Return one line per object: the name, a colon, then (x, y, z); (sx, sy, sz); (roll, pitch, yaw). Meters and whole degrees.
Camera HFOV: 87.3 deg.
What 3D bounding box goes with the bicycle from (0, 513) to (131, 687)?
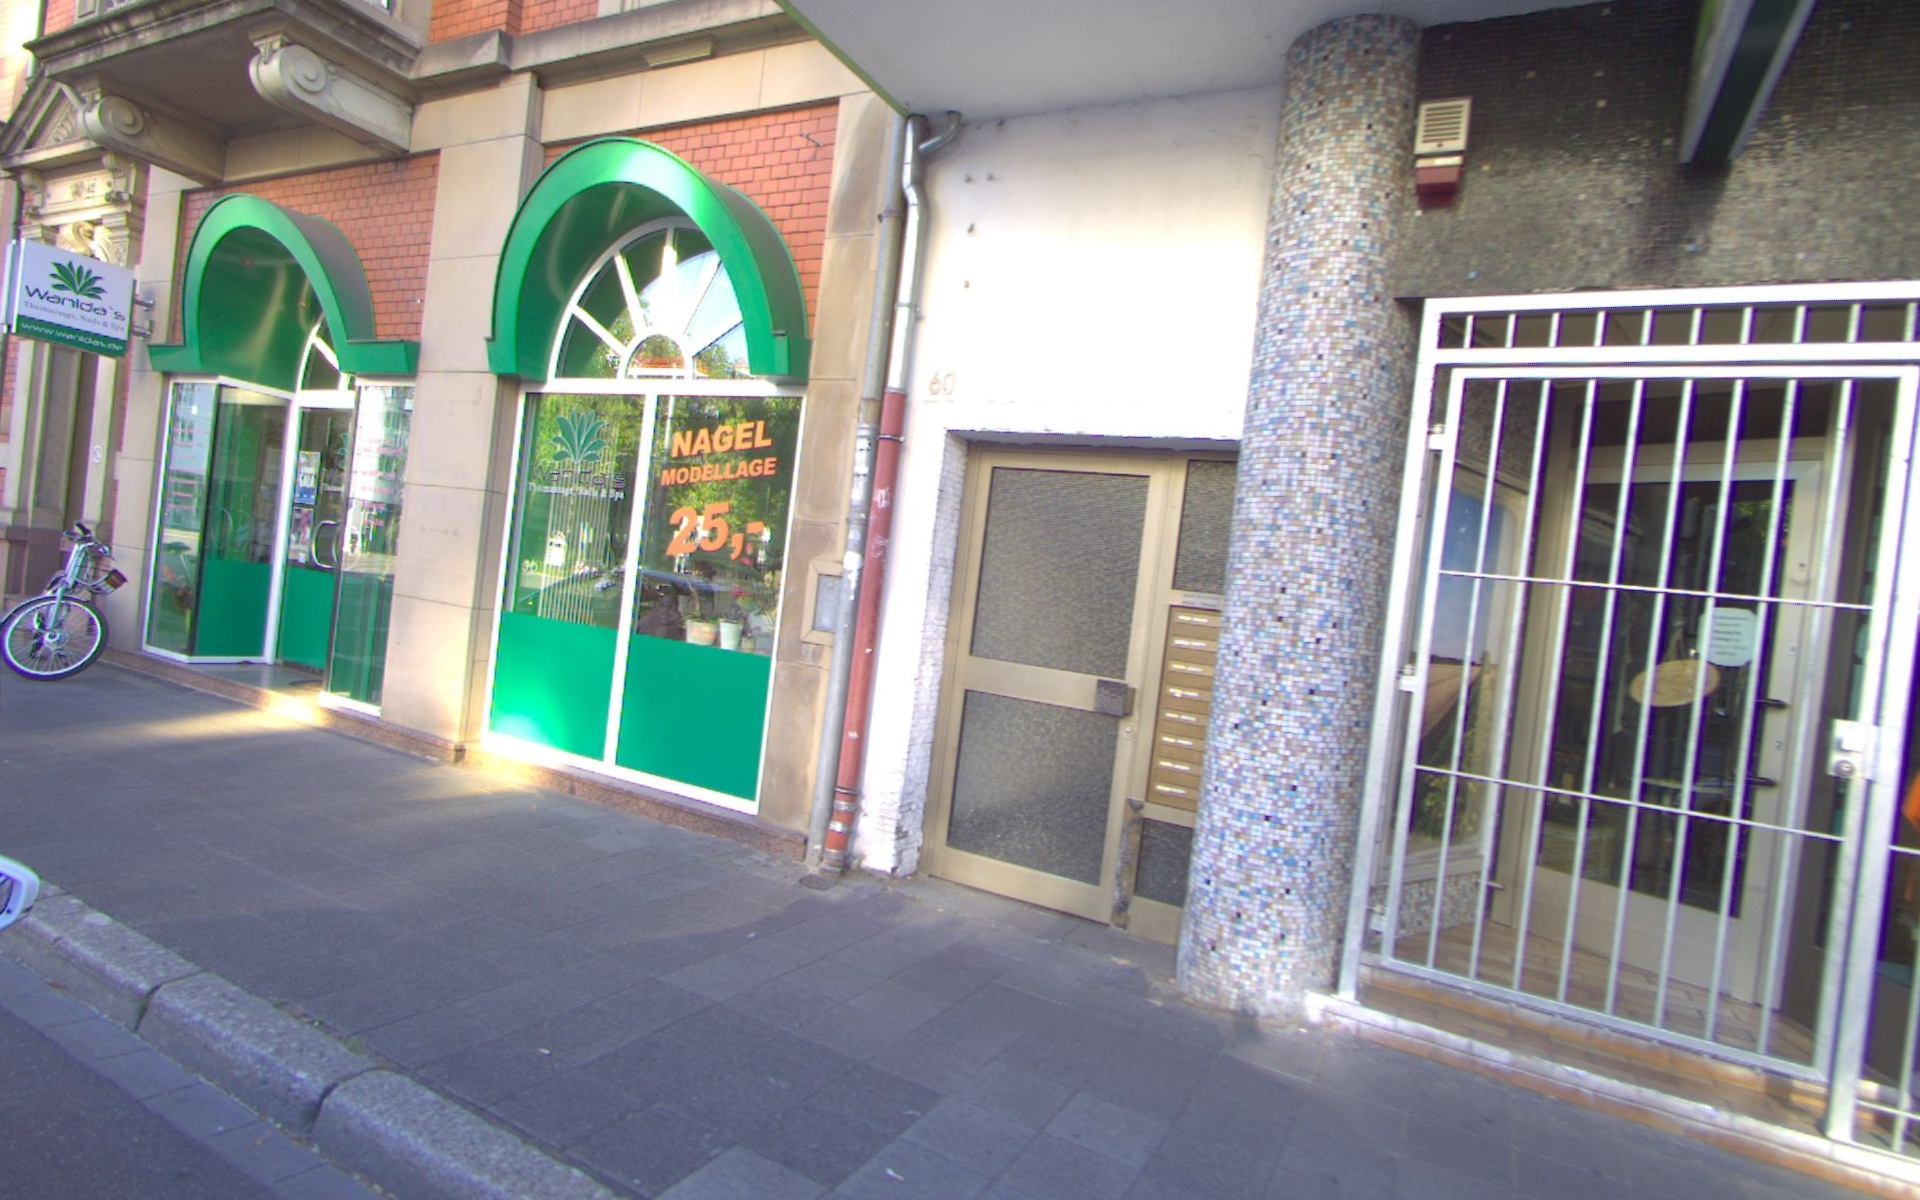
bicycle: (-7.011, -0.027, 7.837); (0.712, 1.167, 1.635); (4, 3, -43)
